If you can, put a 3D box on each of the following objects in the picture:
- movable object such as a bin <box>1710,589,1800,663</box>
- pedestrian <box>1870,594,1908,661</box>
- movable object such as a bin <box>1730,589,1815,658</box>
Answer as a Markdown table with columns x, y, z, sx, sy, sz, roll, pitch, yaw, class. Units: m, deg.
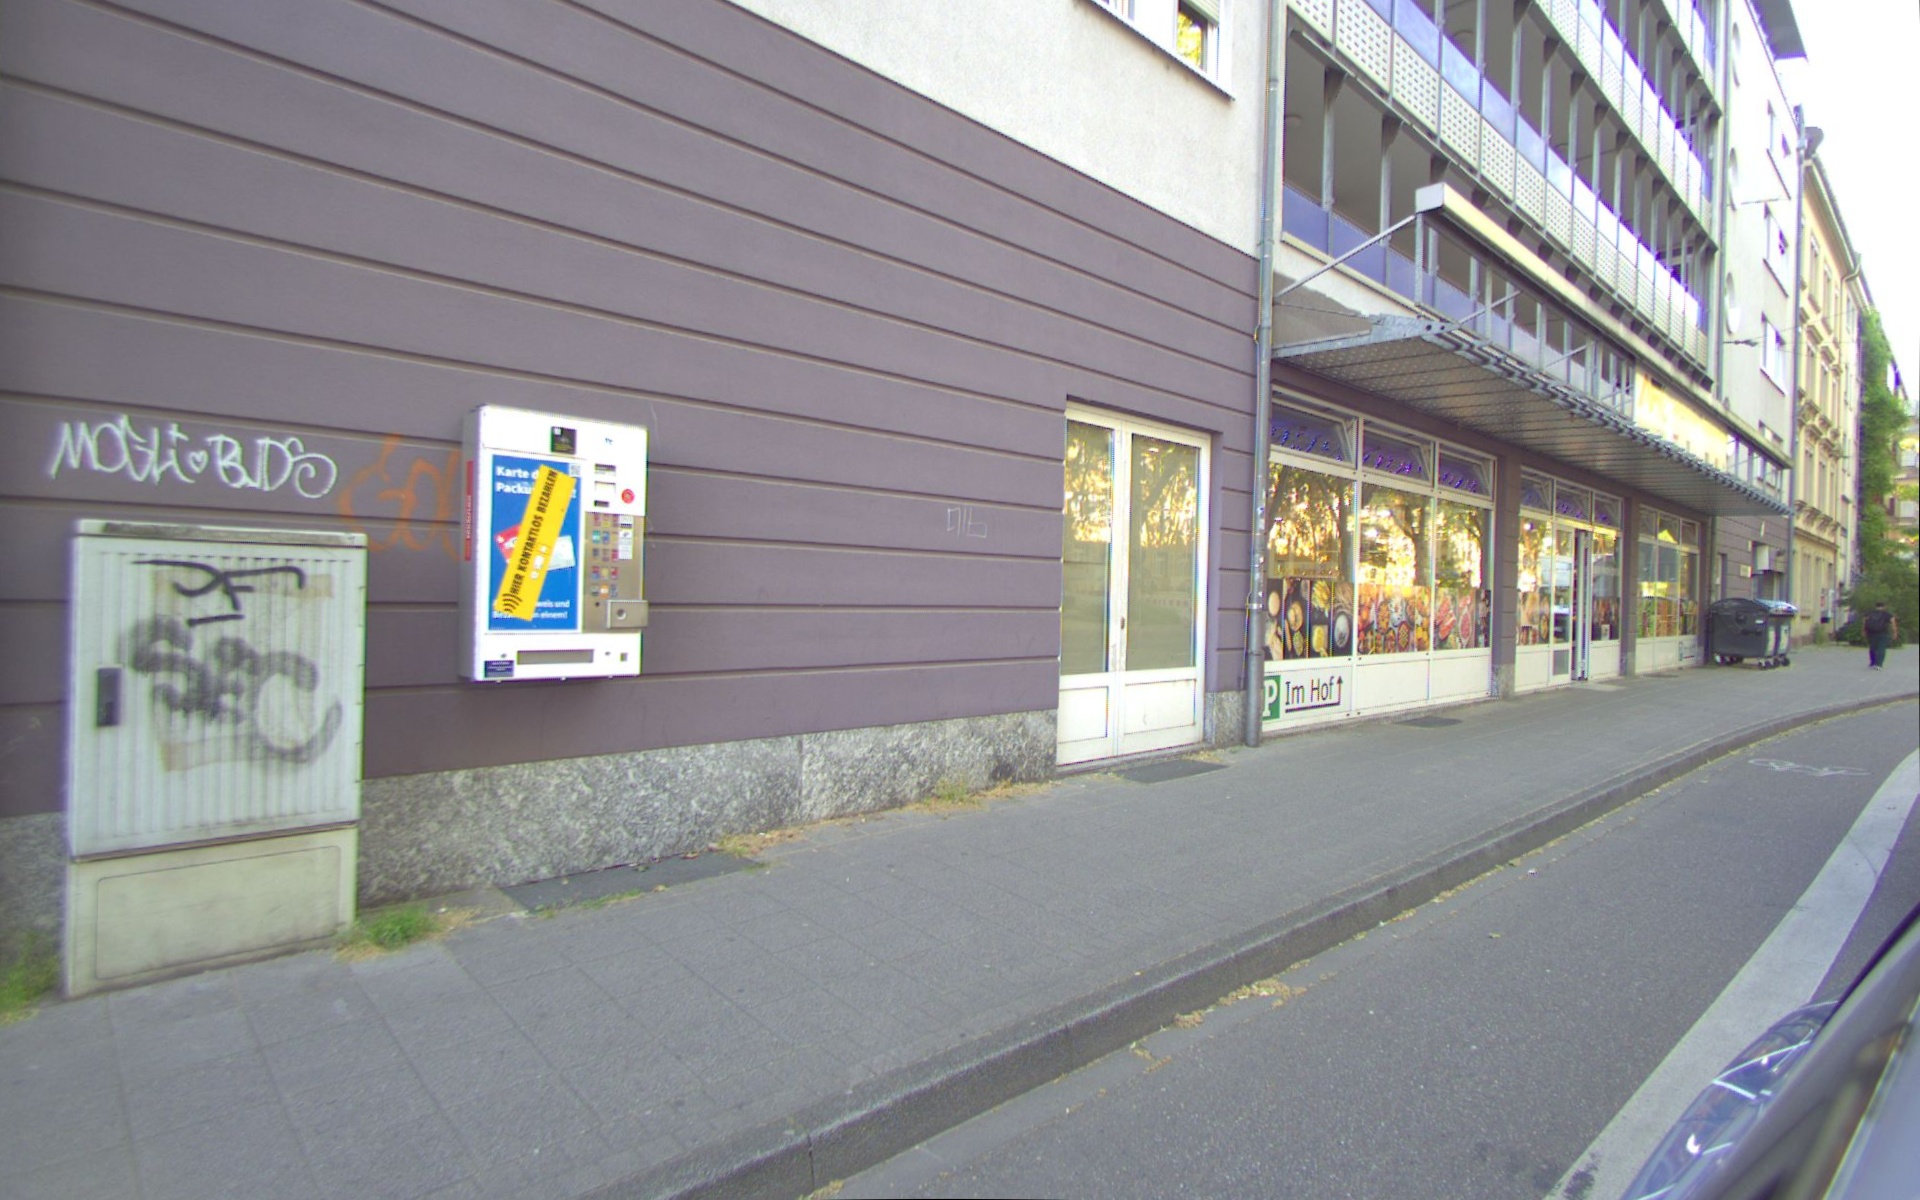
| x | y | z | sx | sy | sz | roll | pitch | yaw | class |
| --- | --- | --- | --- | --- | --- | --- | --- | --- | --- |
| 16.435 | 0.511 | 20.921 | 1.348 | 1.427 | 1.203 | 1 | 1 | -41 | movable object such as a bin |
| 20.741 | 0.606 | 22.596 | 0.619 | 1.463 | 0.540 | 1 | 1 | -41 | pedestrian |
| 17.829 | 0.490 | 22.201 | 1.348 | 1.427 | 1.203 | 1 | 1 | -41 | movable object such as a bin |
